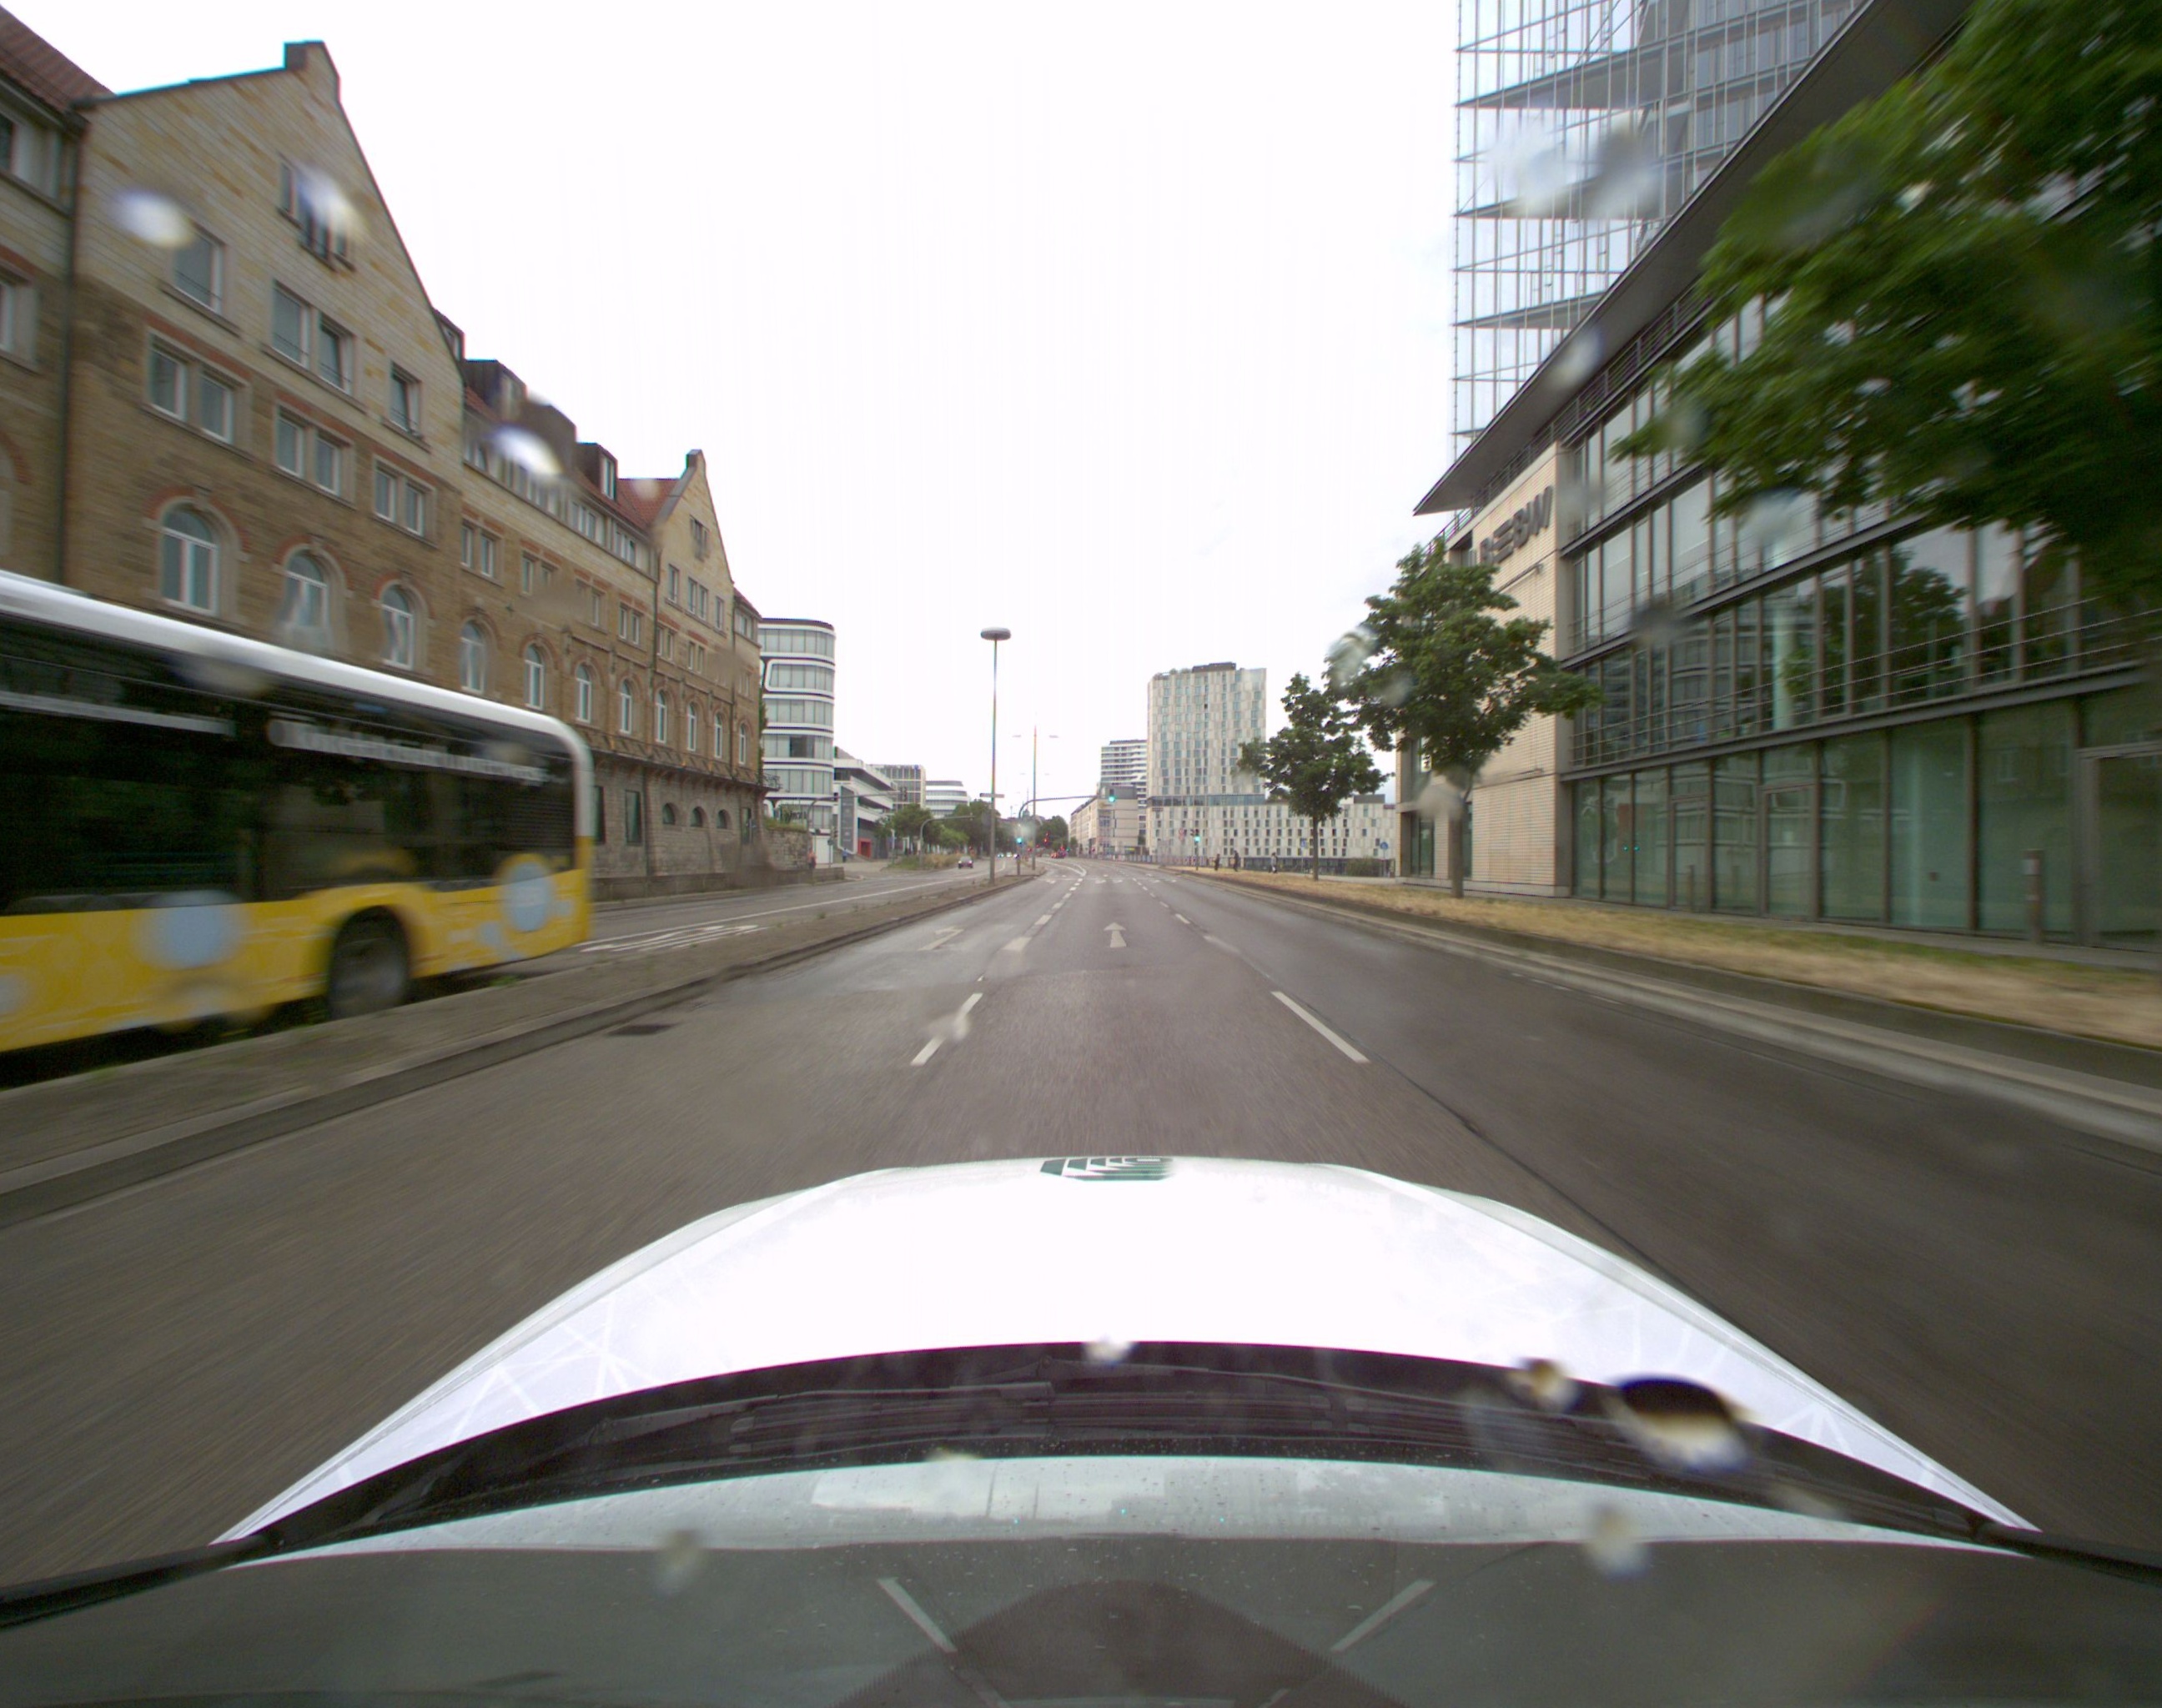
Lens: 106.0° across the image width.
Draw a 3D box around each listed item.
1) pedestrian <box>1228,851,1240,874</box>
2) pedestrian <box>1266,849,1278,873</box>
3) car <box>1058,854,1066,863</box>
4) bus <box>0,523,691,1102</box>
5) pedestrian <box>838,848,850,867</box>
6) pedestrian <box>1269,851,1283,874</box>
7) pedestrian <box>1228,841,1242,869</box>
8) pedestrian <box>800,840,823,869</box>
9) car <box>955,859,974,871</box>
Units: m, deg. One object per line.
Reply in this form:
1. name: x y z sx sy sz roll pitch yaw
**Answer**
1. pedestrian: 10.435 0.570 55.617 0.544 1.578 0.675 0 1 35
2. pedestrian: 12.829 0.488 54.615 0.544 1.578 0.675 0 1 35
3. car: -5.483 1.306 231.373 1.987 2.343 4.000 -4 0 1
4. bus: -7.922 -0.264 8.440 2.689 3.559 10.095 -1 0 1
5. pedestrian: -26.430 0.373 90.837 1.026 2.013 0.716 -1 1 0
6. pedestrian: 13.278 0.572 55.522 0.662 1.578 0.673 0 1 39
7. pedestrian: 10.460 0.076 55.446 0.787 1.841 0.544 -2 2 -42
8. pedestrian: -17.777 0.034 53.712 0.872 1.867 1.068 0 1 35
9. car: -14.174 1.335 99.165 1.742 1.407 3.725 0 0 1
